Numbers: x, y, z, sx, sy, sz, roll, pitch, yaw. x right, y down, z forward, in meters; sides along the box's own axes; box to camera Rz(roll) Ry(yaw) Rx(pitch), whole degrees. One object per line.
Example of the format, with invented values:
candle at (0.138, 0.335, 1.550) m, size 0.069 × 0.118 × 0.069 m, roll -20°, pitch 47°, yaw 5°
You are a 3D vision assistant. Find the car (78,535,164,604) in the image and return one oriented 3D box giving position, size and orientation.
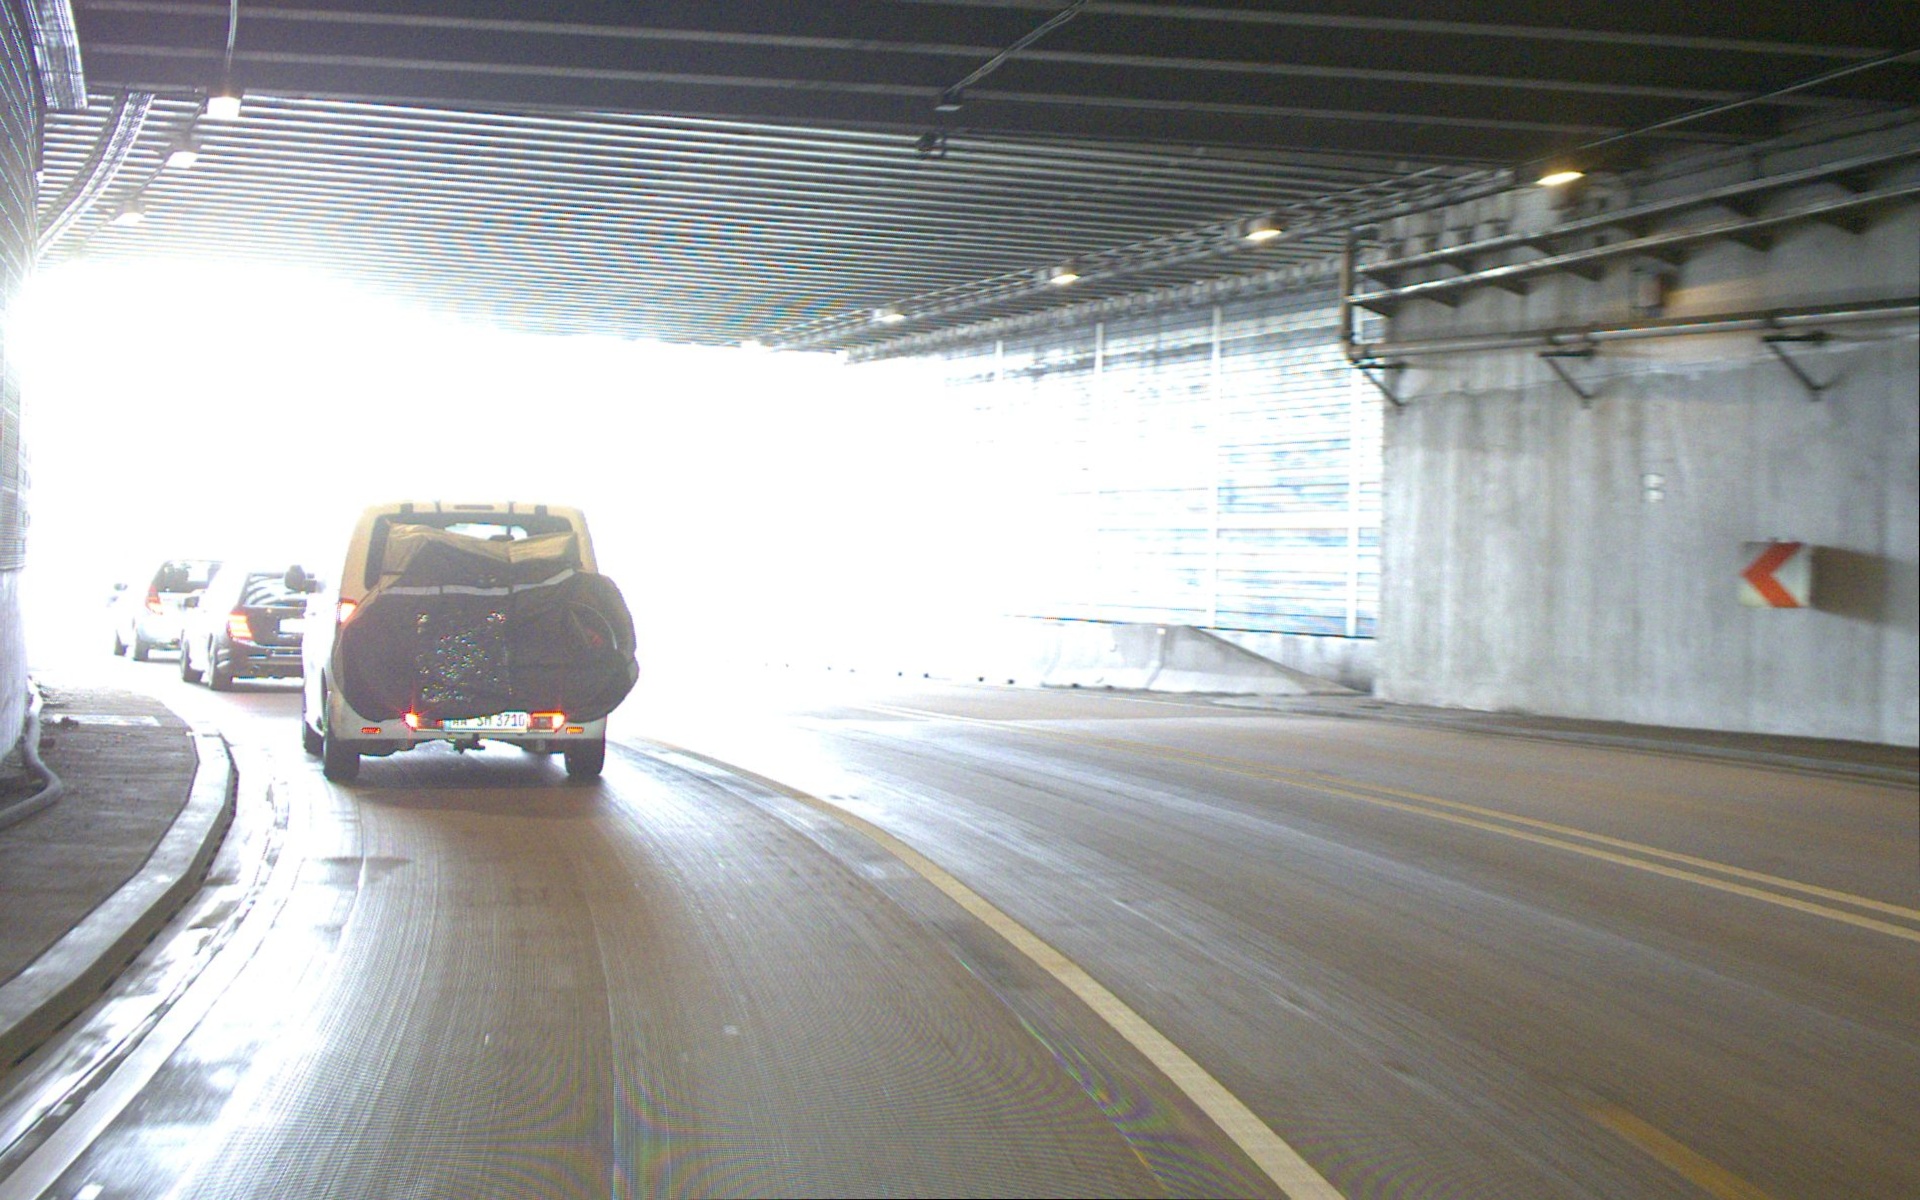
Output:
car at (-21.393, -0.802, 87.551) m, size 1.993 × 1.658 × 4.001 m, roll 1°, pitch 1°, yaw -15°

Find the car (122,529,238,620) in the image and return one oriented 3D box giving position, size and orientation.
car at (-15.067, -0.513, 66.289) m, size 1.993 × 1.658 × 4.001 m, roll 1°, pitch 1°, yaw -15°

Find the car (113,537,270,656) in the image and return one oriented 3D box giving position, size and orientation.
car at (-10.969, -0.080, 48.885) m, size 1.920 × 1.483 × 4.067 m, roll 2°, pitch 1°, yaw -16°

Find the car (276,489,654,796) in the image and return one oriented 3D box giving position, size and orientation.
car at (-3.570, 0.205, 23.848) m, size 1.992 × 1.852 × 5.643 m, roll -1°, pitch 1°, yaw -14°

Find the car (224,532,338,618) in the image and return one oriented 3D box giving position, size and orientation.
car at (-13.948, -0.536, 70.469) m, size 1.993 × 1.658 × 4.001 m, roll 1°, pitch 1°, yaw -15°

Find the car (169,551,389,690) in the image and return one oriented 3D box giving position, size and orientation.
car at (-7.656, 0.192, 38.395) m, size 1.814 × 1.429 × 4.066 m, roll 1°, pitch 1°, yaw -19°
